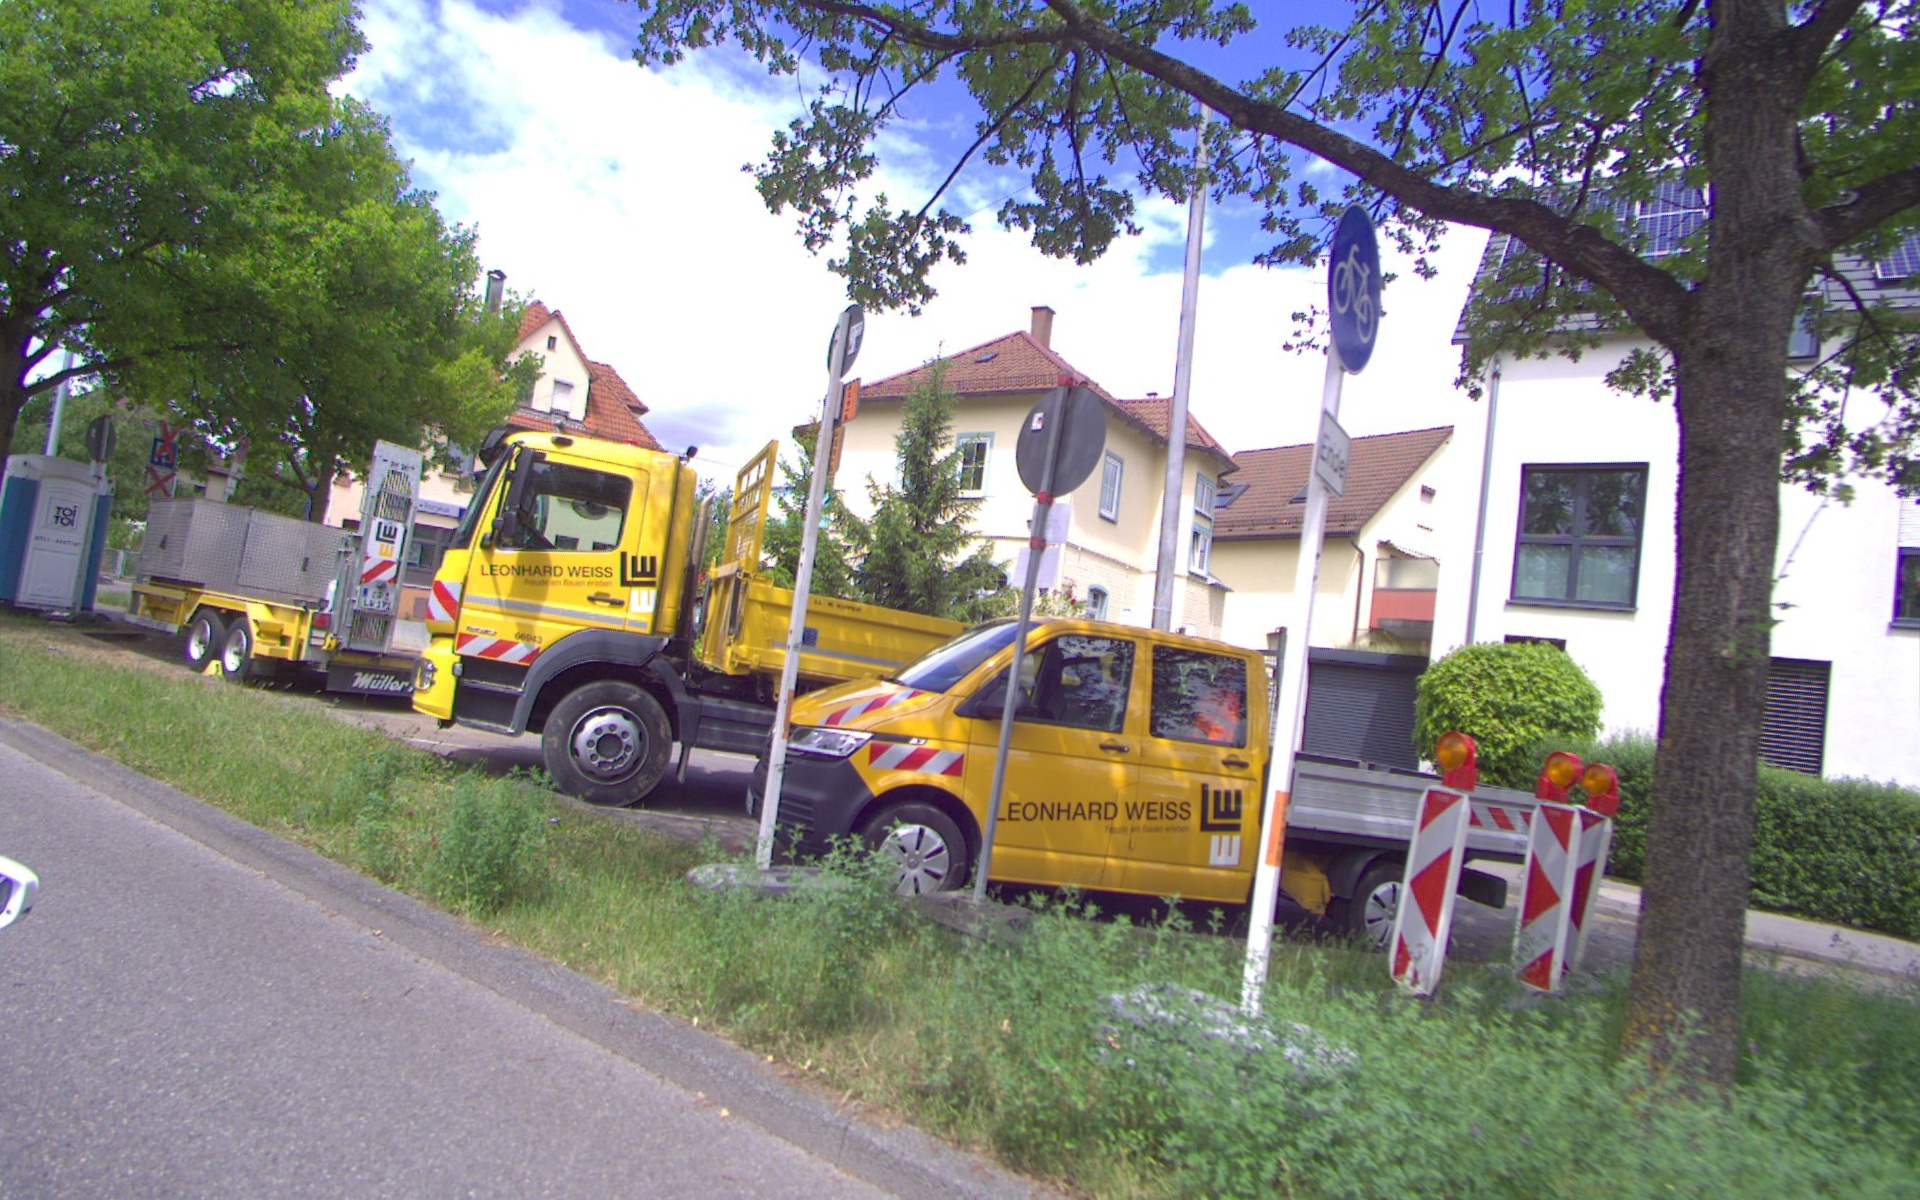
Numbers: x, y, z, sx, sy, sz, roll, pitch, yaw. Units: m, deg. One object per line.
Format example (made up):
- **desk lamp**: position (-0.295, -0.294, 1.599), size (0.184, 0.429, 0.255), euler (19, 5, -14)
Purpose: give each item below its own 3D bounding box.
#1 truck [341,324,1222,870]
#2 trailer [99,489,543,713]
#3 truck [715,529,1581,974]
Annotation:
- **truck**: position (-1.337, 0.313, 9.320), size (6.622, 3.035, 2.763), euler (12, -6, -20)
- **trailer**: position (-8.154, -0.038, 12.709), size (5.422, 2.053, 2.396), euler (6, -4, 32)
- **truck**: position (1.258, 1.139, 7.167), size (5.592, 2.033, 1.998), euler (10, -5, -14)
